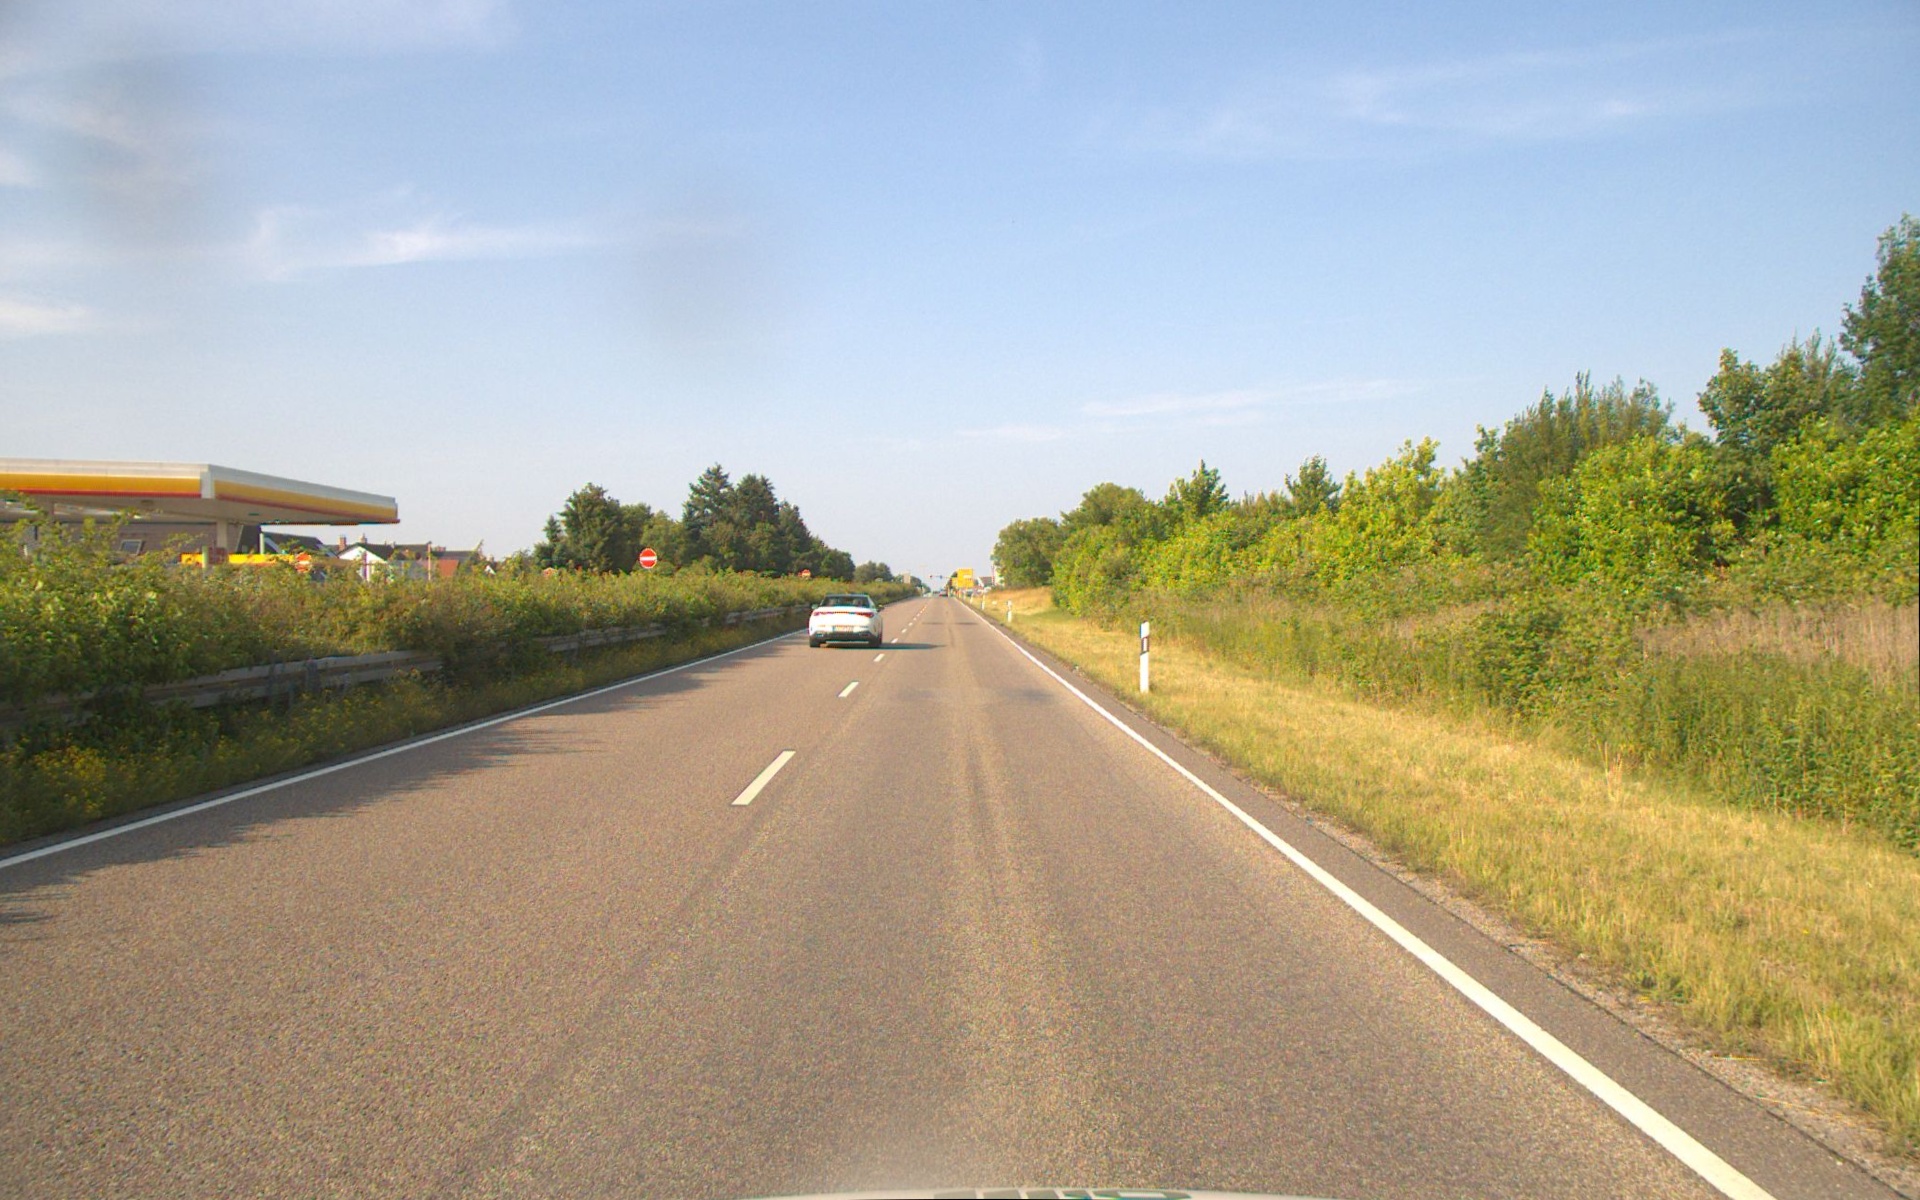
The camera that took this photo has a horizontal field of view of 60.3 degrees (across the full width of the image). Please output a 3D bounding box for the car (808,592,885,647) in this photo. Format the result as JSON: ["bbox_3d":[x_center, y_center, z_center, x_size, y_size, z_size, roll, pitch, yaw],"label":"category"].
[{"bbox_3d":[-2.995,0.500,44.624,1.735,1.361,4.949,1,0,0],"label":"car"}]
